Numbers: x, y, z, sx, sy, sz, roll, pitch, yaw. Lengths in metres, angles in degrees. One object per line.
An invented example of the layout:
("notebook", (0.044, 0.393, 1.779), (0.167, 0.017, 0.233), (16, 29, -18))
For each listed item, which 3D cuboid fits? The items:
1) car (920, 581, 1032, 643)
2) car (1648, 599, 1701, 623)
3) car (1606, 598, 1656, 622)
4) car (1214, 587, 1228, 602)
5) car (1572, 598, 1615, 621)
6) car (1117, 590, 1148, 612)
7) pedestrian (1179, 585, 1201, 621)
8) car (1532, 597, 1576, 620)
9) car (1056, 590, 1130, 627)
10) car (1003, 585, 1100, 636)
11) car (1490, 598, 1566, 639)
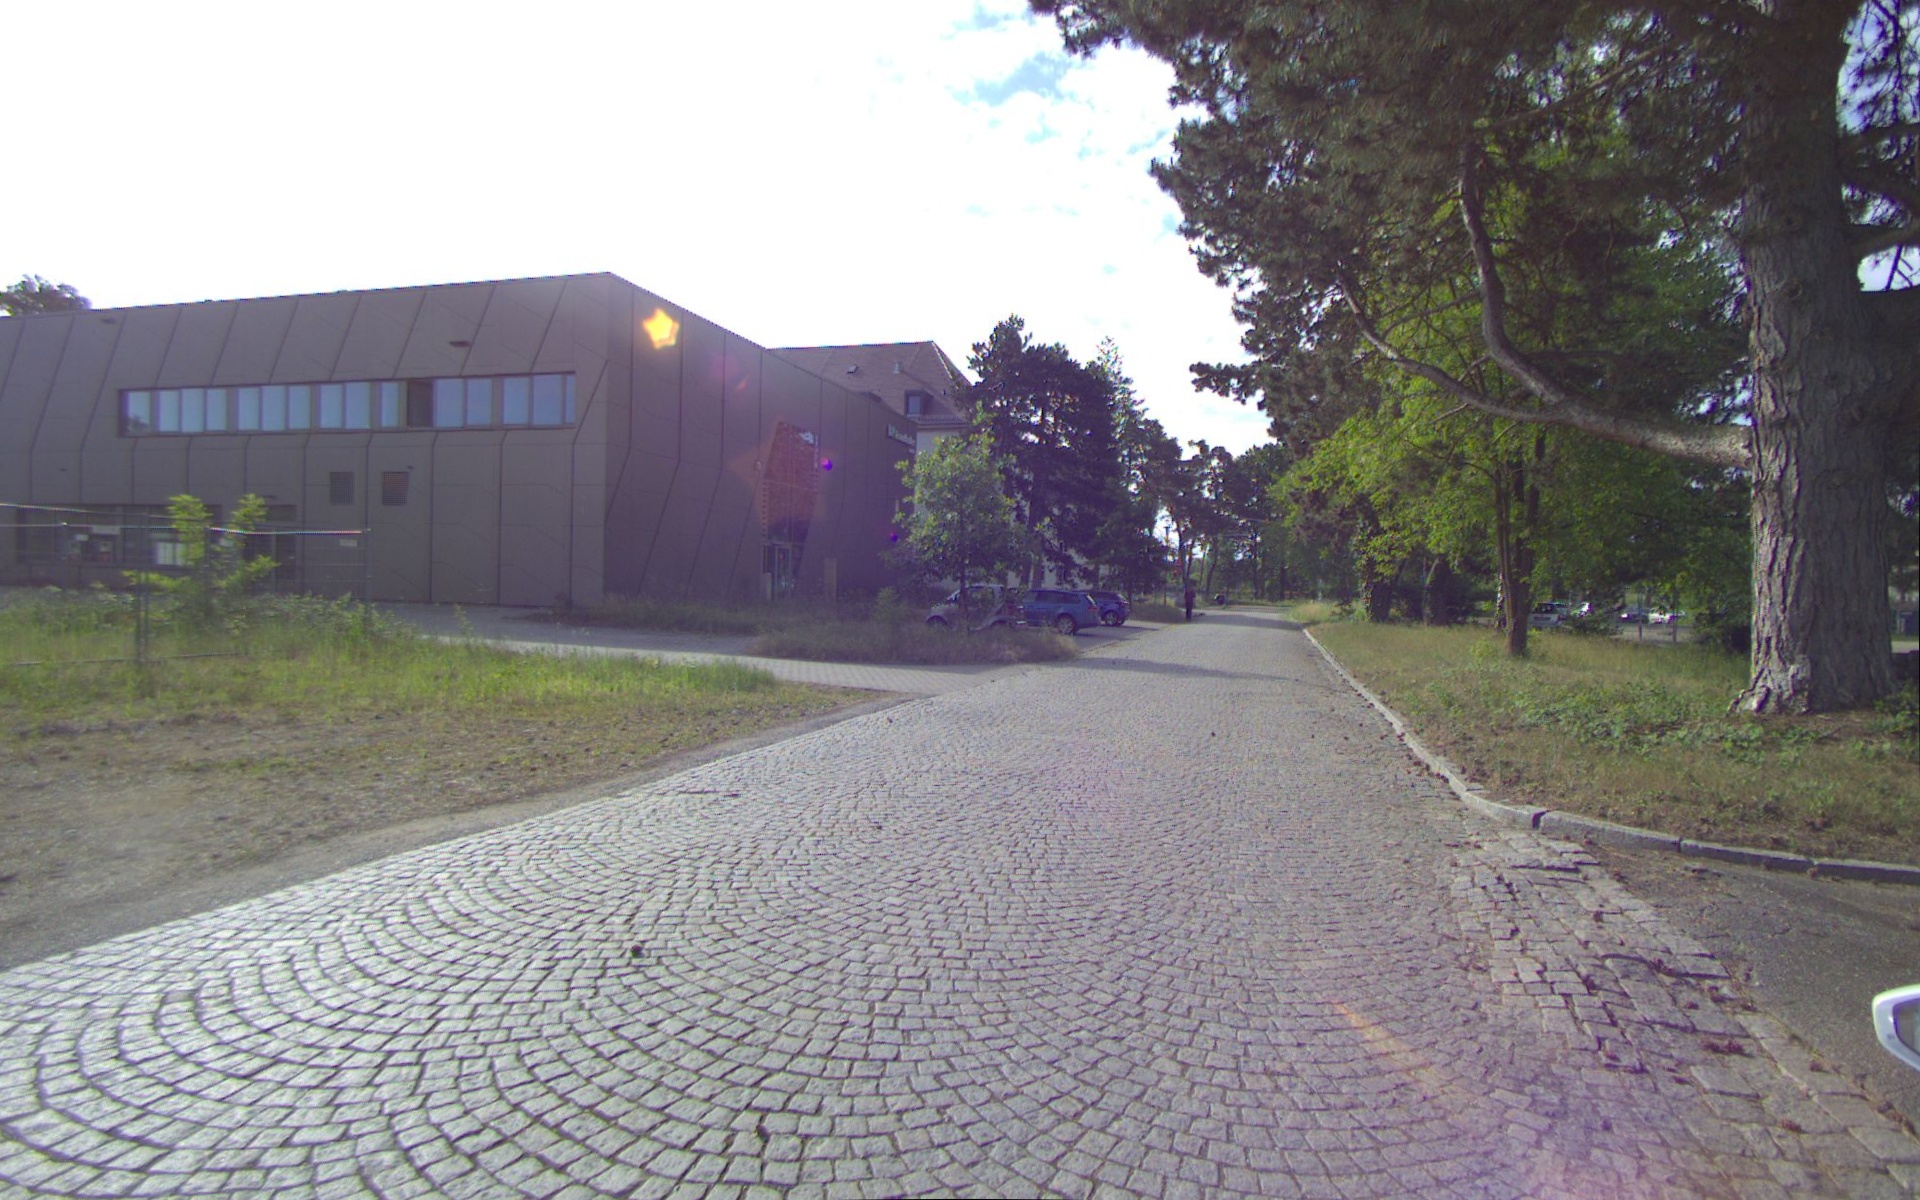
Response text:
("car", (0.445, 0.296, 27.457), (2.715, 1.570, 1.425), (2, 1, 22))
("car", (52.493, 0.814, 73.847), (1.960, 1.639, 4.001), (2, 1, 17))
("car", (49.656, 0.731, 74.437), (1.960, 1.639, 4.001), (2, 1, 17))
("car", (37.591, -0.797, 144.634), (1.669, 2.041, 4.001), (2, 1, 18))
("car", (47.200, 0.685, 74.925), (1.791, 1.639, 4.000), (2, 1, 19))
("car", (14.059, 0.067, 81.710), (1.960, 1.639, 4.001), (2, 1, 17))
("pedestrian", (12.186, 0.143, 53.194), (0.940, 1.869, 0.956), (2, 1, 4))
("car", (44.600, 0.600, 75.489), (1.960, 1.639, 4.001), (2, 1, 17))
("car", (5.757, 0.339, 43.291), (3.031, 1.469, 1.493), (2, 1, 12))
("car", (3.137, 0.335, 34.278), (3.031, 1.476, 1.493), (4, 2, 13))
("car", (24.066, 0.735, 42.736), (1.854, 1.561, 4.001), (2, 1, 16))
